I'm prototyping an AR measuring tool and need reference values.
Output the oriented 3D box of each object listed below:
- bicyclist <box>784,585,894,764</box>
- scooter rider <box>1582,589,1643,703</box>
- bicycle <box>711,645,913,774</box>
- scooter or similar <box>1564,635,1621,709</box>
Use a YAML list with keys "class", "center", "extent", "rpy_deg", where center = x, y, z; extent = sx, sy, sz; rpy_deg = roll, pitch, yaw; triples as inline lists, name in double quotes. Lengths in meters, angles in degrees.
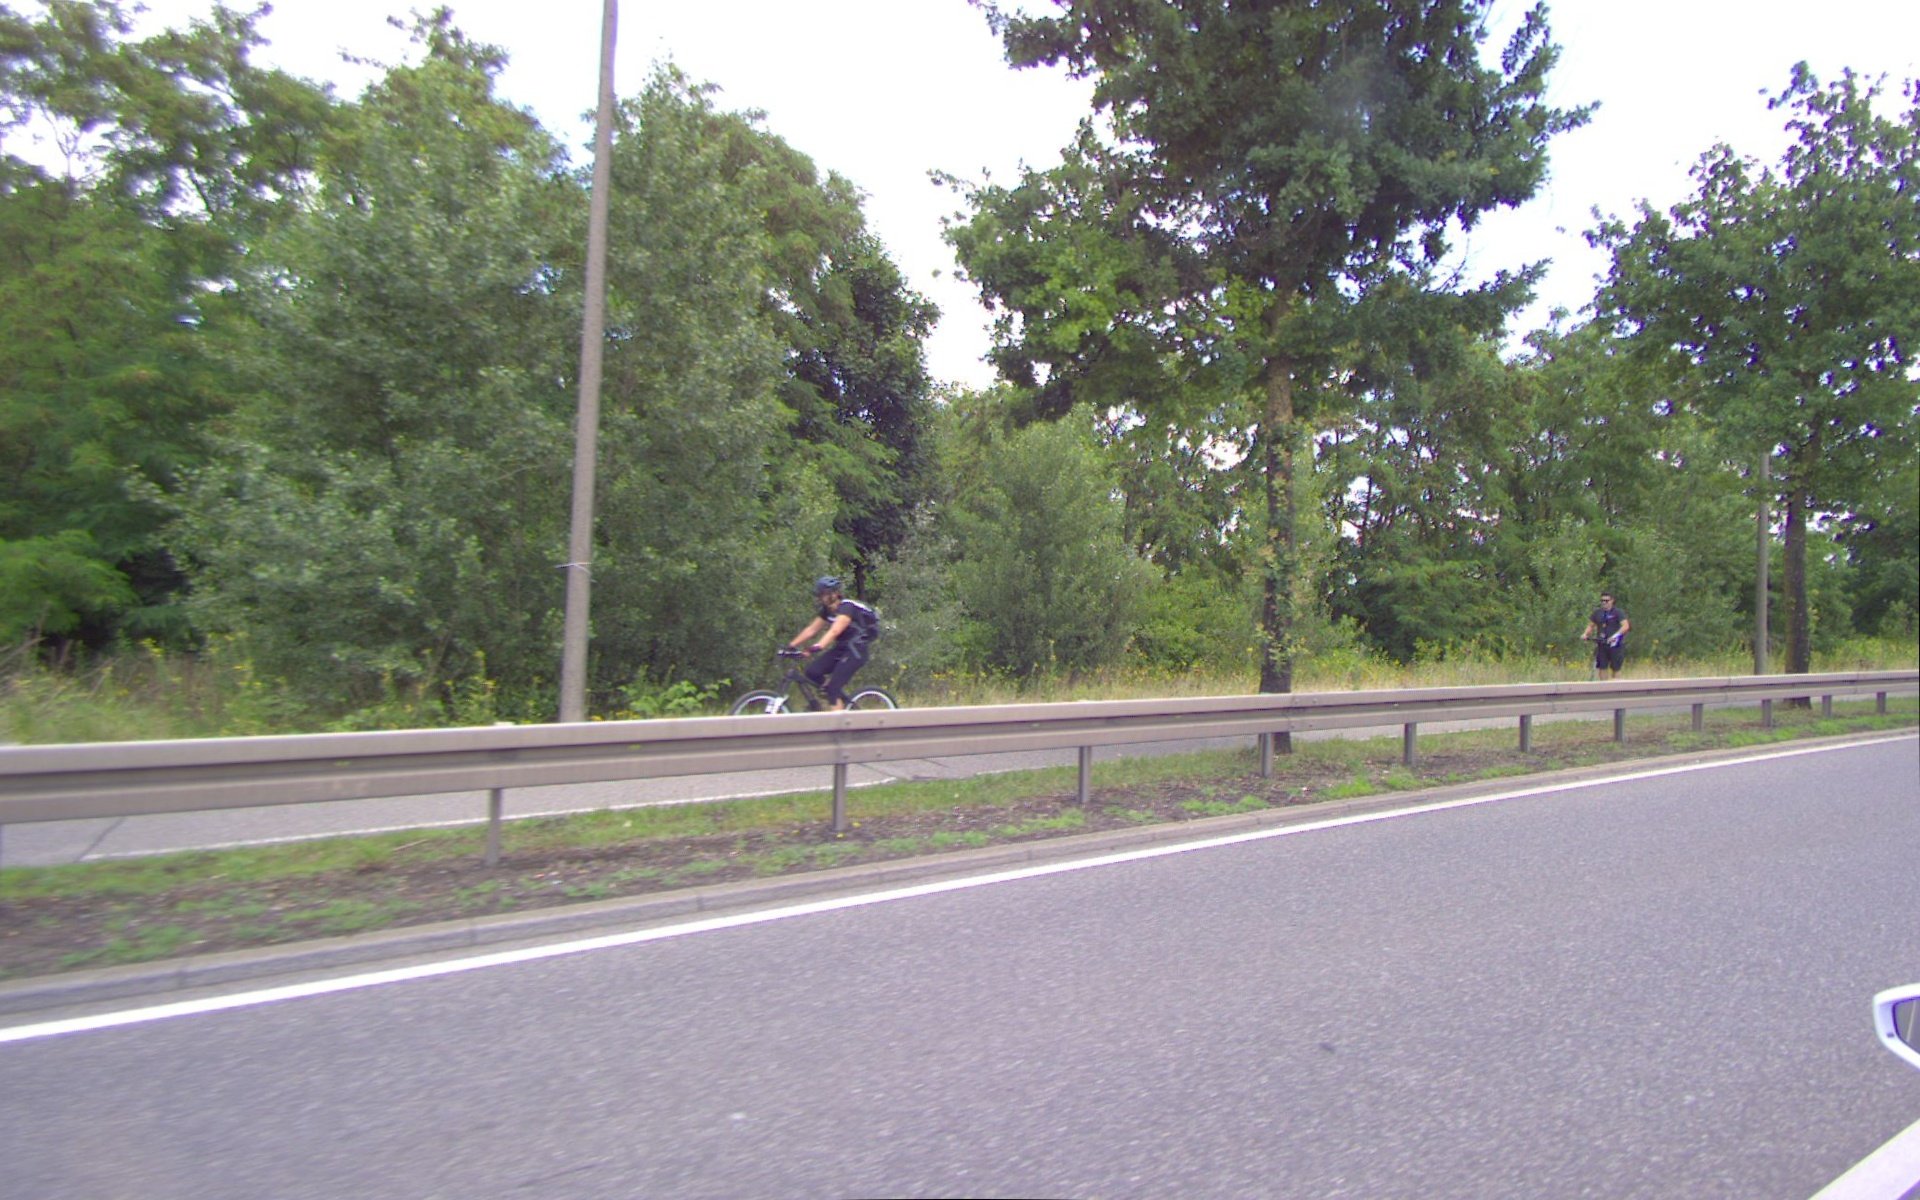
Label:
- class: "bicyclist"
  center: [-1.113, 0.670, 9.252]
  extent: [0.870, 1.573, 0.482]
  rpy_deg: [1, -2, -31]
- class: "scooter rider"
  center: [11.081, 0.779, 17.070]
  extent: [0.612, 1.881, 0.658]
  rpy_deg: [1, -2, -31]
- class: "bicycle"
  center: [-1.323, 0.953, 9.137]
  extent: [1.734, 1.077, 0.554]
  rpy_deg: [2, -2, -31]
- class: "scooter or similar"
  center: [10.753, 1.205, 17.072]
  extent: [0.553, 1.223, 0.631]
  rpy_deg: [1, -2, -32]
